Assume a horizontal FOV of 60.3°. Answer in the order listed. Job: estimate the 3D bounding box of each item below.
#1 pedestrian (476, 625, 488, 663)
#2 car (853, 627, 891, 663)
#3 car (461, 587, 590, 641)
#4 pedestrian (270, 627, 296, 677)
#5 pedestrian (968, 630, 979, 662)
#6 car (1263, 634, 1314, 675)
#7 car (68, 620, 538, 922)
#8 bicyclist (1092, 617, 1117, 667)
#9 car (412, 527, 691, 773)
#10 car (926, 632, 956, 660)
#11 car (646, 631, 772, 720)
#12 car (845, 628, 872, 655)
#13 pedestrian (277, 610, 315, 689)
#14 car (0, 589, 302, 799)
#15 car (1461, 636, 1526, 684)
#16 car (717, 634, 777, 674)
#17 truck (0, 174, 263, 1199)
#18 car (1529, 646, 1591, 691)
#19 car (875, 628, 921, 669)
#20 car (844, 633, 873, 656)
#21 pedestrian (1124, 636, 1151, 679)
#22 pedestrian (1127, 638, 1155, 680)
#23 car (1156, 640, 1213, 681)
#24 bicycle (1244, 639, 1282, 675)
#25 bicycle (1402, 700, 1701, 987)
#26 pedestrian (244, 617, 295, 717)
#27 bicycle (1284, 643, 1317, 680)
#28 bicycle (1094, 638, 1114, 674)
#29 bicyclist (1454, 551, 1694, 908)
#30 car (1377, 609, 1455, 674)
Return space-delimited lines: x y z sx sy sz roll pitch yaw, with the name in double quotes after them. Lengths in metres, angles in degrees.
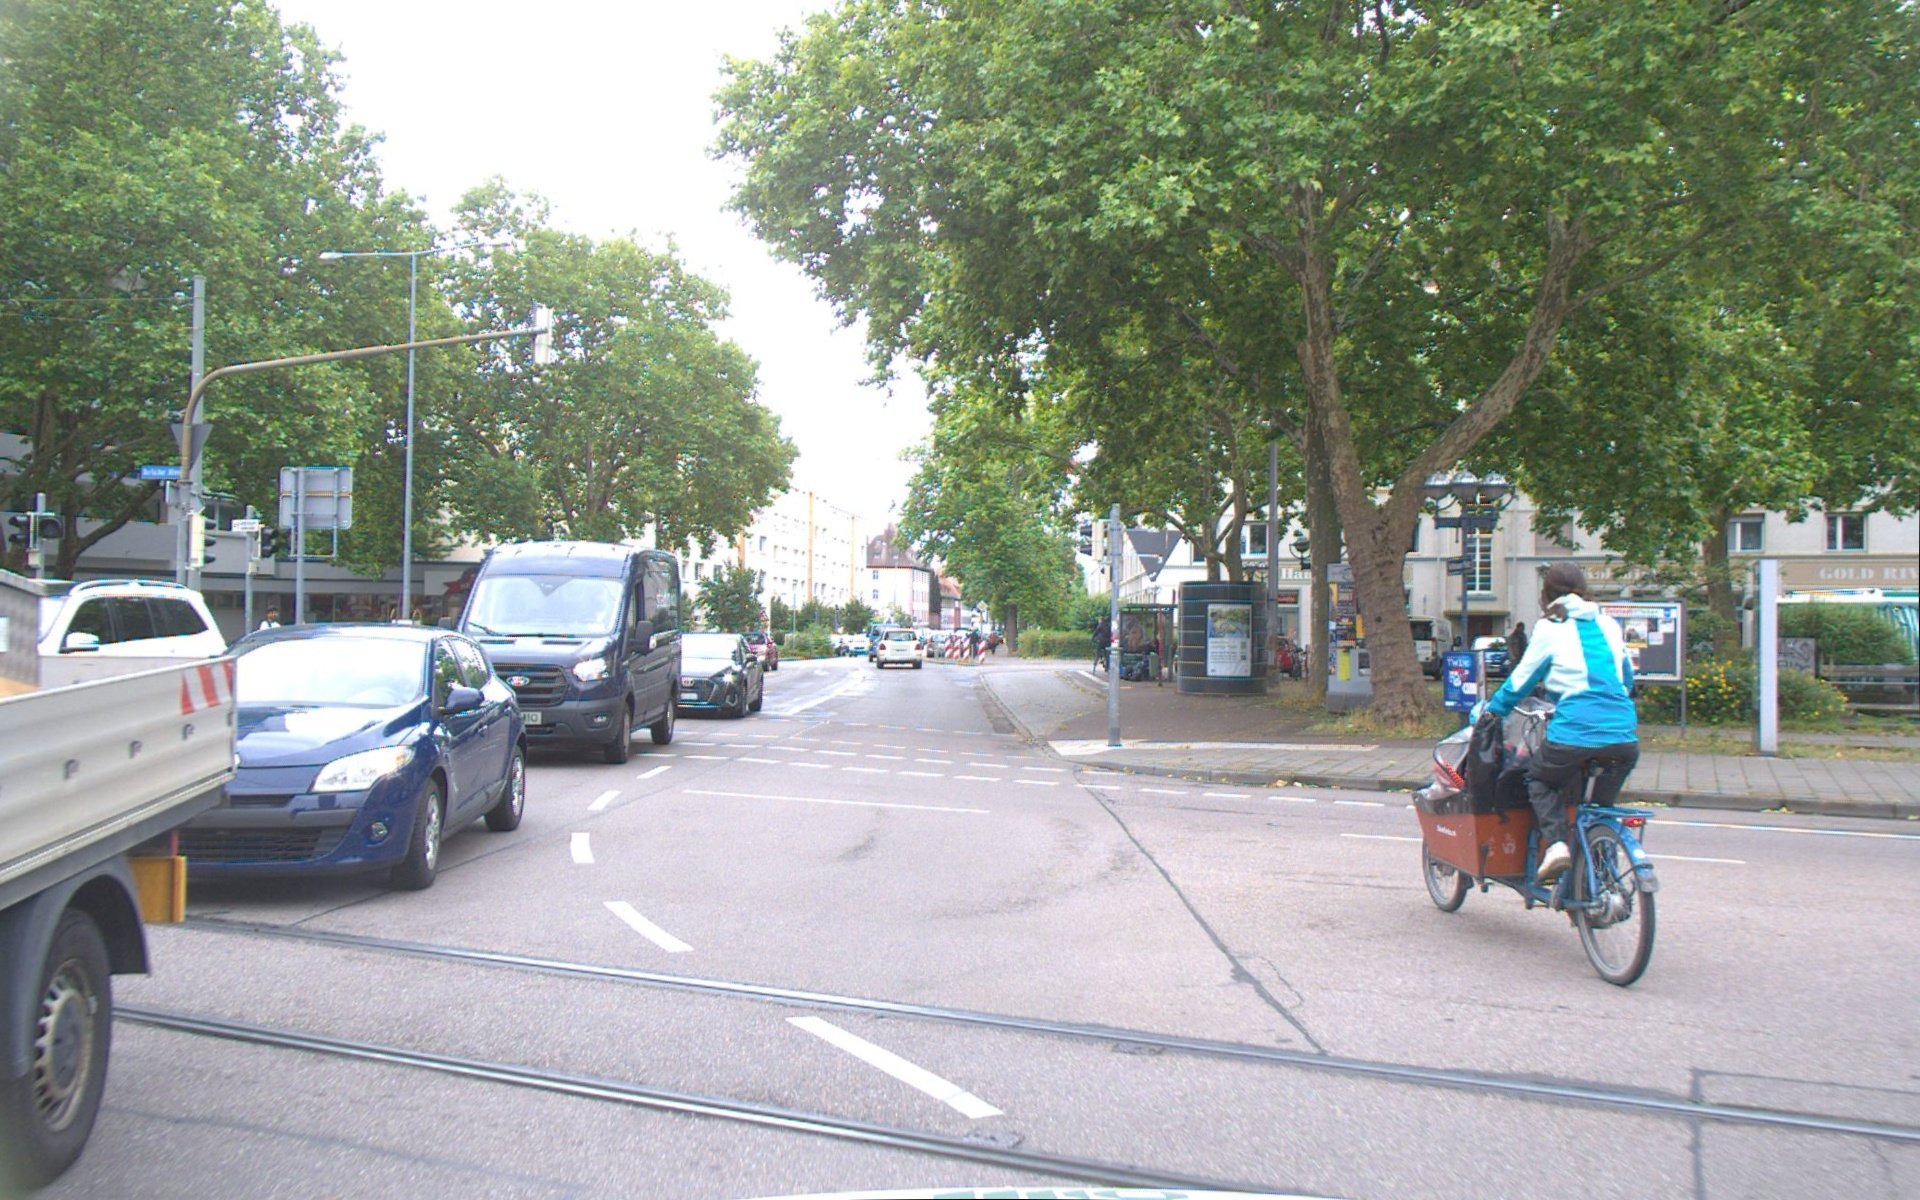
-21.207 1.950 73.361 0.501 1.710 0.514 1 -1 -17 "pedestrian"
-4.642 2.373 87.875 1.953 1.881 3.998 0 -1 -2 "car"
-15.009 0.510 57.117 3.944 1.736 1.980 2 -2 -30 "car"
-21.445 1.642 52.389 0.412 1.572 0.622 0 -1 22 "pedestrian"
0.732 2.471 88.682 0.539 1.714 0.569 0 -1 -2 "pedestrian"
12.133 1.991 60.983 1.483 1.453 4.002 0 -1 17 "car"
-3.810 0.890 10.316 1.634 1.515 3.900 0 -1 -5 "car"
5.189 1.497 59.449 0.745 1.790 0.819 0 -1 -5 "bicyclist"
-4.604 0.552 19.605 2.091 2.494 5.576 0 -1 -2 "car"
-1.174 2.830 101.989 1.778 1.620 3.999 0 -1 -1 "car"
-4.416 1.300 29.658 1.772 1.452 4.314 0 -1 -3 "car"
-7.606 3.102 124.180 1.731 1.945 3.999 0 -1 0 "car"
-15.419 1.154 38.433 0.562 1.816 0.620 0 -1 8 "pedestrian"
-8.751 0.866 17.217 1.829 1.858 5.223 0 -1 -2 "car"
18.719 2.069 57.954 1.760 1.570 3.824 0 -1 25 "car"
-8.349 2.111 65.107 1.815 1.478 4.166 1 -1 -1 "car"
-3.004 0.294 2.842 2.036 2.450 5.451 0 -1 -9 "truck"
21.081 2.388 58.017 1.760 1.466 3.824 0 -1 25 "car"
-2.541 2.005 68.723 1.778 1.620 3.999 0 -1 -1 "car"
-6.873 3.031 112.617 1.731 1.512 3.999 0 -1 0 "car"
5.919 1.908 55.100 0.801 1.396 0.762 0 -1 -1 "pedestrian"
5.930 1.922 54.187 0.835 1.338 0.762 0 -1 -1 "pedestrian"
8.383 2.222 61.445 1.483 1.453 4.002 0 -1 17 "car"
10.340 1.931 56.432 0.762 1.188 2.331 0 -1 24 "bicycle"
2.719 1.062 7.869 0.484 1.118 2.136 0 -2 -5 "bicycle"
-12.655 1.222 30.327 0.686 1.816 0.506 0 -1 6 "pedestrian"
11.541 2.070 56.013 0.610 1.188 2.331 0 -1 24 "bicycle"
5.162 1.990 59.222 0.409 1.264 1.925 0 -1 -4 "bicycle"
2.831 0.567 7.724 0.672 1.544 1.057 0 -1 -4 "bicyclist"
16.249 1.451 58.806 2.130 2.239 3.998 0 -1 23 "car"
